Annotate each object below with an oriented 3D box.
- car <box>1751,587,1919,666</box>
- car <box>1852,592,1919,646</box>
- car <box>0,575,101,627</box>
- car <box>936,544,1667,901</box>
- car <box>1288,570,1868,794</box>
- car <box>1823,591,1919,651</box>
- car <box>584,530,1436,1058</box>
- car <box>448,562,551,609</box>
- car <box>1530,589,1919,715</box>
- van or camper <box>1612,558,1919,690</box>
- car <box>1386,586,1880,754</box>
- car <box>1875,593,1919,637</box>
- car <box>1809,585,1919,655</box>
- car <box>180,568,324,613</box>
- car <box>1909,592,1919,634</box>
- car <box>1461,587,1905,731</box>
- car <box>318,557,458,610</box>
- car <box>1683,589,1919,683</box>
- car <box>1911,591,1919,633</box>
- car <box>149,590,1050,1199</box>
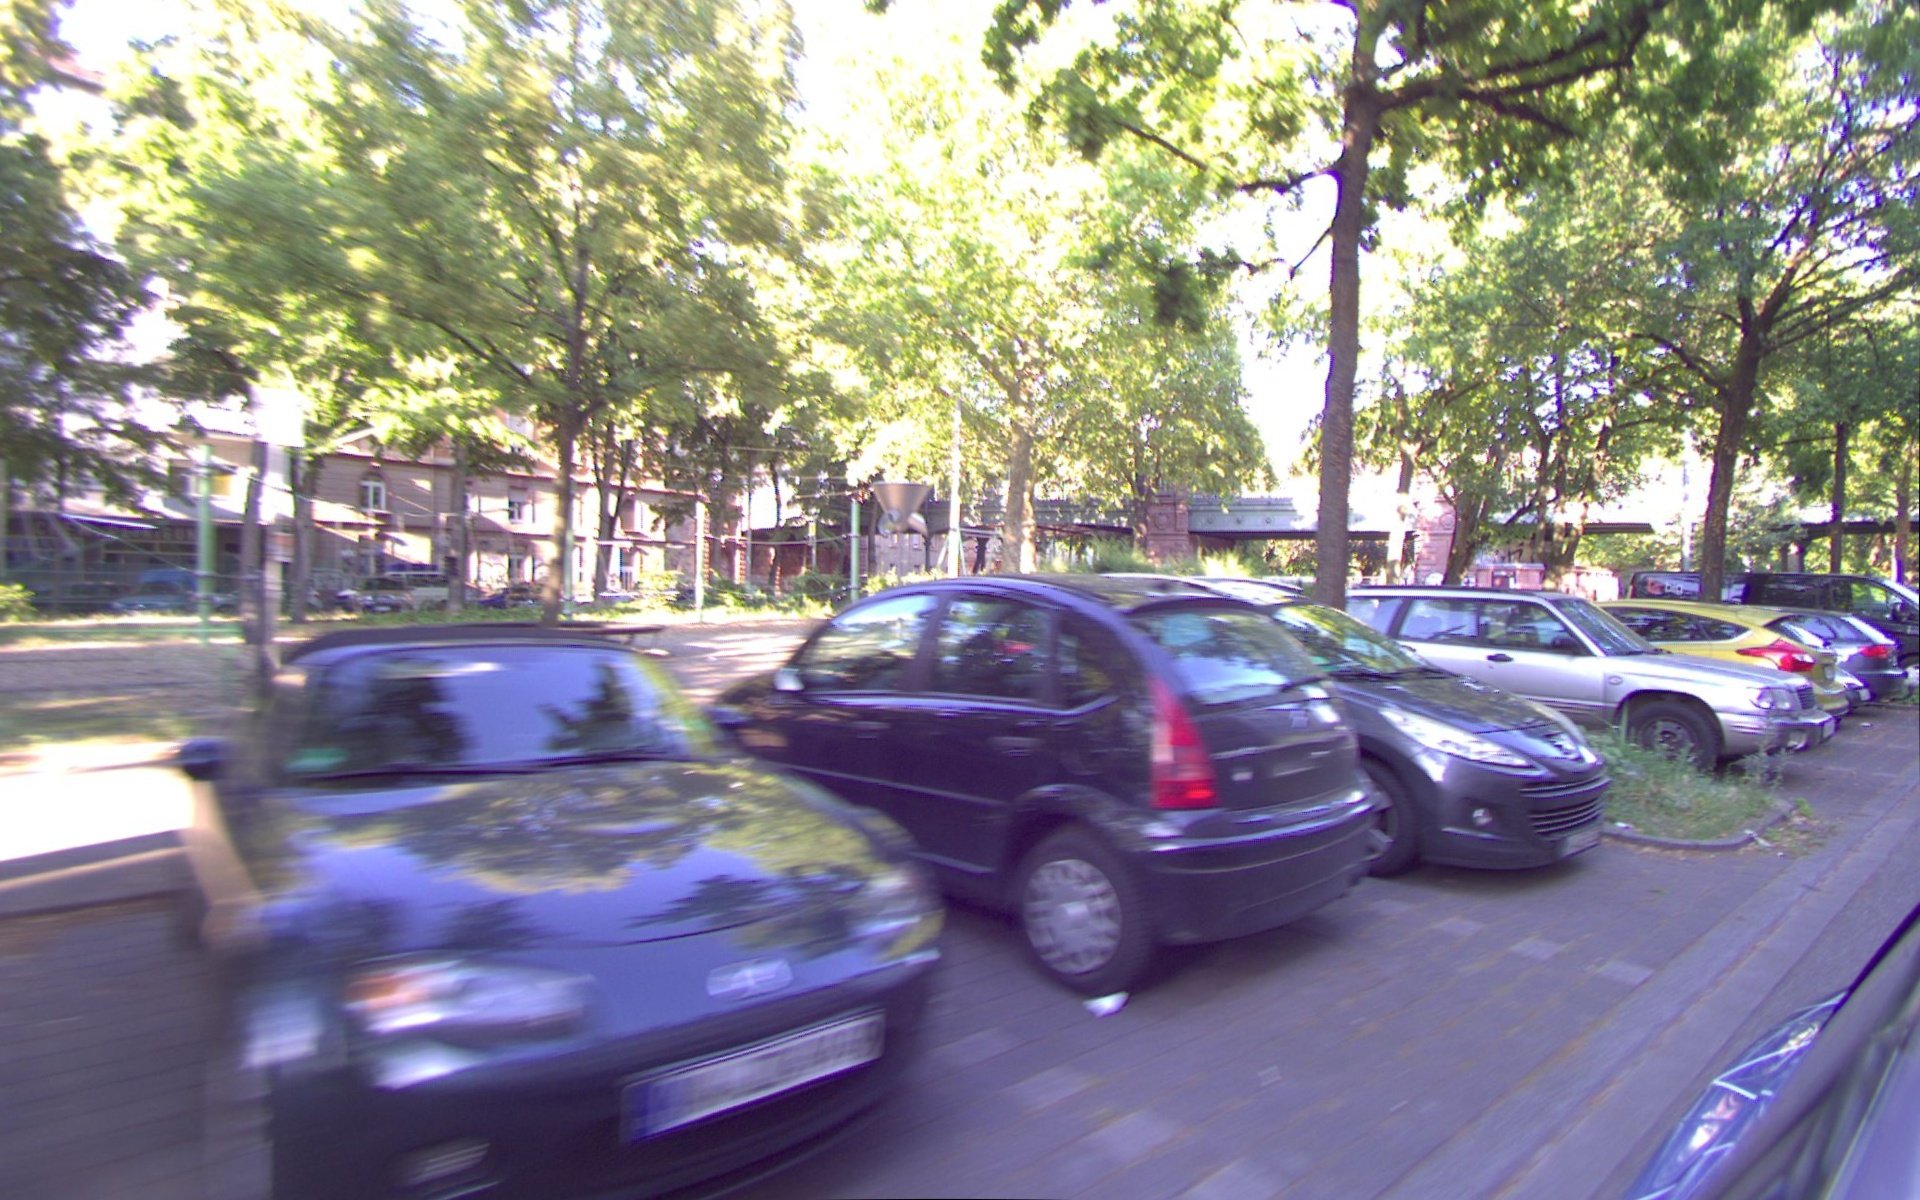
[{"bbox_3d":[20.748,0.567,22.719,1.633,1.596,4.415,-2,3,-35],"label":"car"},{"bbox_3d":[28.314,0.570,29.046,1.633,1.464,3.795,-2,3,-35],"label":"car"},{"bbox_3d":[-30.016,0.049,31.963,1.982,1.571,3.961,-1,1,29],"label":"car"},{"bbox_3d":[1.893,0.472,6.847,1.805,1.610,4.410,-1,2,-39],"label":"car"},{"bbox_3d":[5.612,0.538,9.711,1.806,1.610,4.408,-1,2,-41],"label":"car"},{"bbox_3d":[26.148,0.577,27.535,1.634,1.491,3.793,-2,3,-38],"label":"car"},{"bbox_3d":[-0.136,0.510,5.291,1.808,1.610,4.402,-1,2,-45],"label":"car"},{"bbox_3d":[-21.195,-0.680,46.720,1.982,2.039,3.961,-1,1,29],"label":"car"},{"bbox_3d":[11.076,0.618,14.809,1.806,1.458,4.407,-1,2,-41],"label":"car"},{"bbox_3d":[14.783,0.330,17.600,1.992,2.052,5.429,1,1,-38],"label":"van or camper"},{"bbox_3d":[7.485,0.620,11.695,1.804,1.458,4.412,-1,2,-38],"label":"car"},{"bbox_3d":[33.355,0.547,33.936,1.635,1.418,3.790,-2,3,-40],"label":"car"},{"bbox_3d":[24.249,0.499,25.770,1.635,1.666,3.791,-2,3,-39],"label":"car"},{"bbox_3d":[-26.370,-0.379,37.828,1.982,1.571,3.961,-1,1,29],"label":"car"},{"bbox_3d":[35.764,0.507,35.207,1.795,1.418,3.791,-2,3,-39],"label":"car"},{"bbox_3d":[9.251,0.616,13.317,1.804,1.458,4.412,-1,2,-38],"label":"car"},{"bbox_3d":[-23.571,-0.700,41.901,1.982,2.039,4.692,-1,1,29],"label":"car"},{"bbox_3d":[16.506,0.612,19.095,1.807,1.519,4.405,-2,3,-43],"label":"car"},{"bbox_3d":[37.287,0.493,36.836,1.608,1.490,3.786,-2,3,-44],"label":"car"},{"bbox_3d":[-1.655,0.663,3.501,1.661,1.295,3.850,0,2,-41],"label":"car"}]
